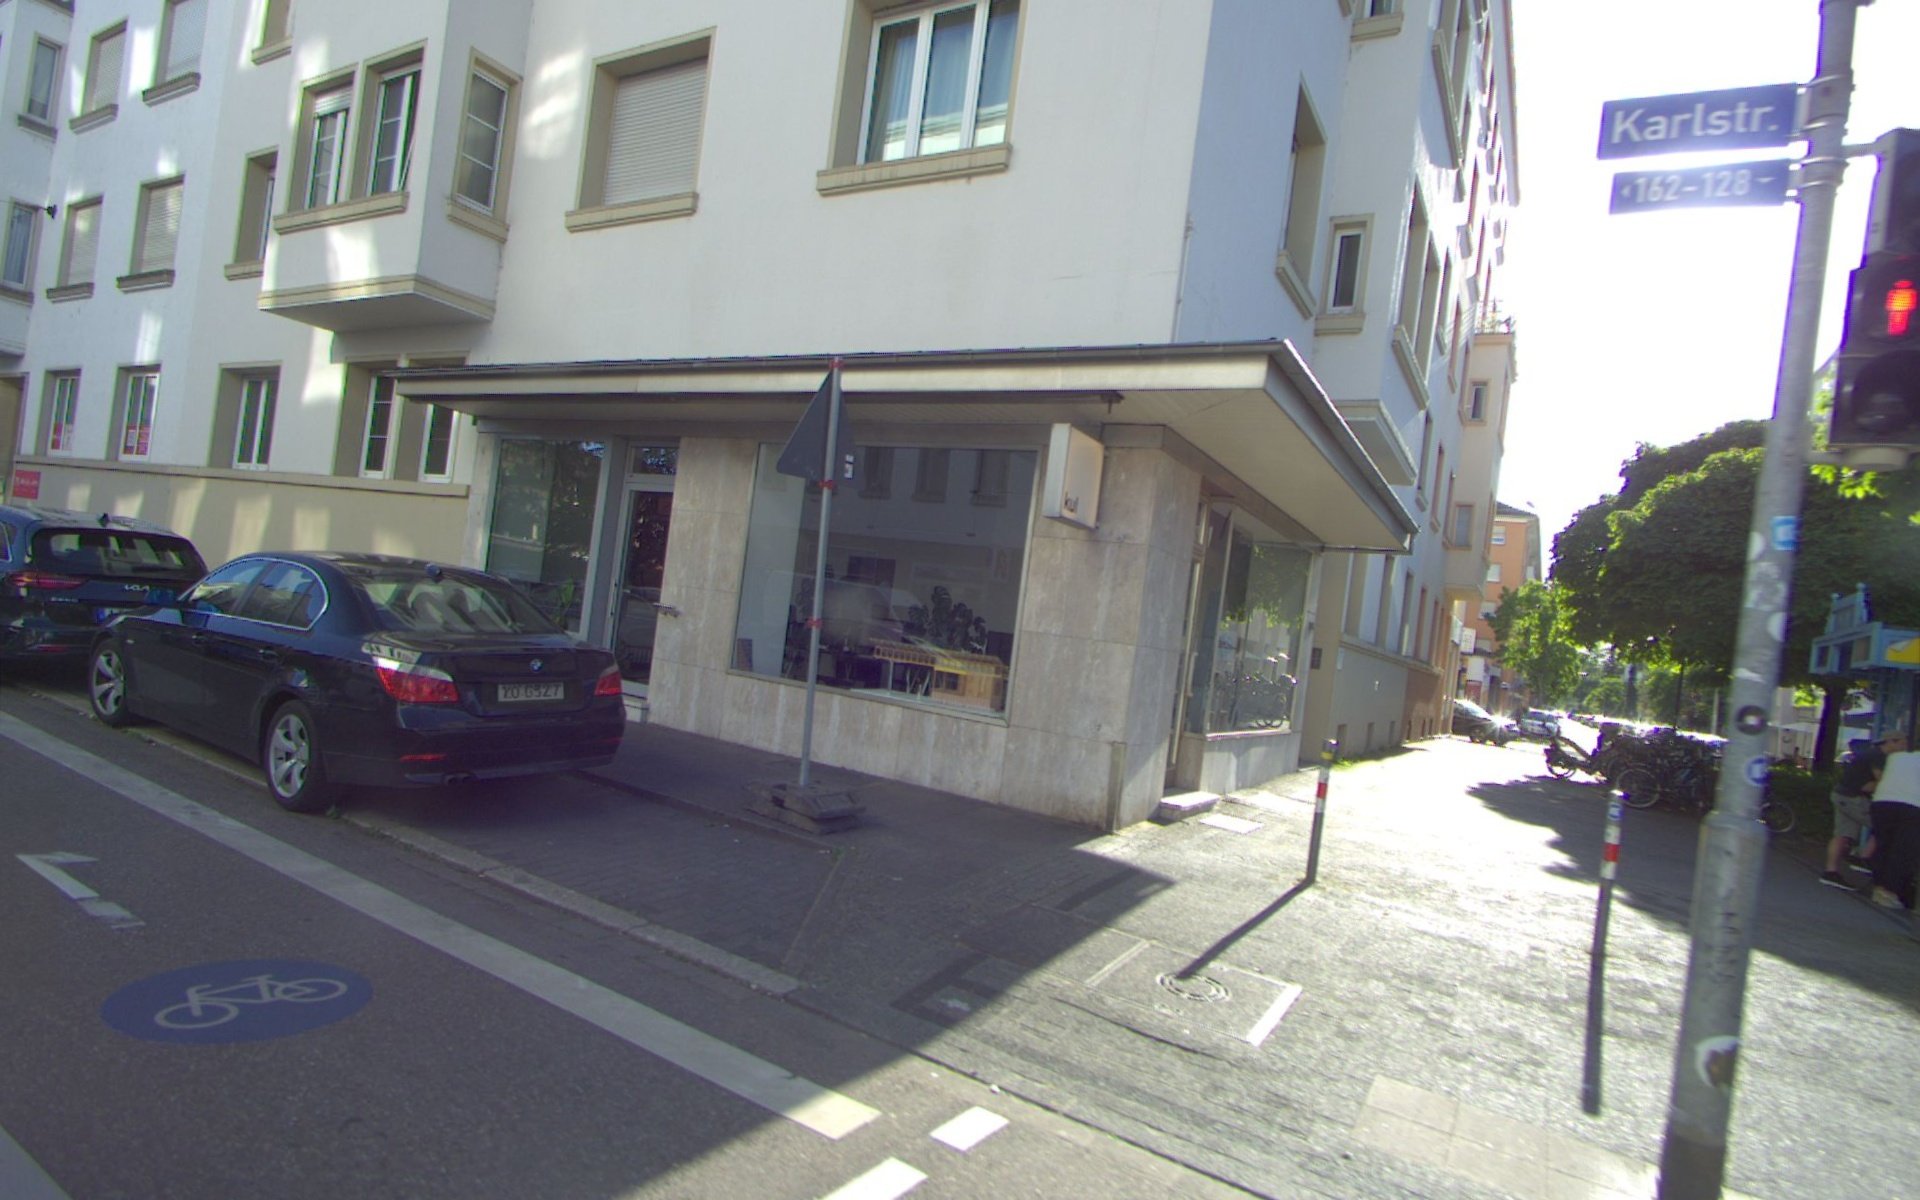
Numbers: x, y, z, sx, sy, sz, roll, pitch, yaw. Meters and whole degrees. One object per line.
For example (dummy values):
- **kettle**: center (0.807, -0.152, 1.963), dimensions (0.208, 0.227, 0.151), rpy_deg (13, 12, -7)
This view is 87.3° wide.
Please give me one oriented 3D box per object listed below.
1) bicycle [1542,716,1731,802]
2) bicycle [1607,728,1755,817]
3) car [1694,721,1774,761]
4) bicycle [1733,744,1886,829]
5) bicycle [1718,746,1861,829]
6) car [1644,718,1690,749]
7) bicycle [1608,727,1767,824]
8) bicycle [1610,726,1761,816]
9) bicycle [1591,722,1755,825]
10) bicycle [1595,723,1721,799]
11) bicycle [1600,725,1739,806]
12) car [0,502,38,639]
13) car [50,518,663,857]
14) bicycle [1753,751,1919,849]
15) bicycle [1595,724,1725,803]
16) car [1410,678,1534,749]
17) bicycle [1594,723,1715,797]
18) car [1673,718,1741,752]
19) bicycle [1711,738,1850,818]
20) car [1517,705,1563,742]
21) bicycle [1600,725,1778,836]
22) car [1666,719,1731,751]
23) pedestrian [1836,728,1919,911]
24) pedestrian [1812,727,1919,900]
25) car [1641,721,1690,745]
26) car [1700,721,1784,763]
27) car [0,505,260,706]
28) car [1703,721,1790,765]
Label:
- **bicycle**: center (13.360, 3.119, 20.019), dimensions (2.972, 1.164, 0.671), rpy_deg (7, -1, 32)
- **bicycle**: center (13.025, 3.092, 18.252), dimensions (1.999, 1.165, 0.661), rpy_deg (9, 0, 32)
- **car**: center (52.259, 9.495, 68.016), dimensions (3.934, 2.037, 1.997), rpy_deg (7, -1, 32)
- **bicycle**: center (15.830, 3.451, 18.816), dimensions (2.000, 1.164, 0.661), rpy_deg (7, -1, 32)
- **bicycle**: center (16.494, 3.709, 20.072), dimensions (1.999, 1.165, 0.661), rpy_deg (9, 0, 32)
- **car**: center (44.047, 8.304, 62.728), dimensions (1.784, 1.570, 3.996), rpy_deg (7, -2, 30)
- **bicycle**: center (12.249, 2.935, 17.024), dimensions (1.999, 1.165, 0.661), rpy_deg (9, 0, 32)
- **bicycle**: center (12.653, 2.963, 17.630), dimensions (2.000, 1.164, 0.661), rpy_deg (7, -1, 32)
- **bicycle**: center (11.621, 2.801, 16.496), dimensions (1.999, 1.233, 0.661), rpy_deg (9, 0, 32)
- **bicycle**: center (14.707, 3.370, 21.262), dimensions (1.999, 1.165, 0.661), rpy_deg (9, 0, 32)
- **bicycle**: center (13.448, 3.117, 19.149), dimensions (2.000, 1.164, 0.661), rpy_deg (7, -1, 32)
- **car**: center (-12.813, -0.553, 11.846), dimensions (4.028, 1.526, 1.858), rpy_deg (6, 1, 33)
- **car**: center (-4.522, 0.398, 7.245), dimensions (4.838, 1.526, 1.749), rpy_deg (6, 1, 33)
- **bicycle**: center (14.935, 3.376, 17.161), dimensions (1.999, 1.165, 0.661), rpy_deg (9, 0, 32)
- **bicycle**: center (14.297, 3.316, 20.615), dimensions (1.999, 1.165, 0.661), rpy_deg (9, 0, 32)
- **car**: center (19.462, 4.292, 38.294), dimensions (3.934, 2.037, 1.601), rpy_deg (7, -1, 32)
- **bicycle**: center (15.083, 3.453, 21.925), dimensions (1.999, 1.165, 0.661), rpy_deg (9, 0, 32)
- **car**: center (59.862, 10.787, 80.656), dimensions (3.931, 2.037, 1.998), rpy_deg (7, -1, 29)
- **bicycle**: center (16.846, 3.638, 20.720), dimensions (1.999, 1.165, 0.661), rpy_deg (9, 0, 32)
- **car**: center (30.091, 6.359, 52.291), dimensions (1.783, 1.570, 3.996), rpy_deg (7, -2, 29)
- **bicycle**: center (11.094, 2.720, 15.410), dimensions (1.999, 1.233, 0.661), rpy_deg (9, 0, 32)
- **car**: center (61.699, 11.256, 84.120), dimensions (3.931, 2.037, 1.998), rpy_deg (7, -1, 29)
- **pedestrian**: center (9.077, 2.103, 9.676), dimensions (0.732, 1.622, 0.615), rpy_deg (7, 0, 32)
- **pedestrian**: center (9.310, 2.168, 10.364), dimensions (0.582, 1.622, 0.552), rpy_deg (7, 0, 31)
- **car**: center (74.990, 14.097, 106.996), dimensions (3.931, 1.870, 1.998), rpy_deg (7, -1, 29)
- **car**: center (51.001, 9.261, 65.746), dimensions (3.934, 2.037, 1.997), rpy_deg (7, -1, 32)
- **car**: center (-8.961, -0.100, 9.656), dimensions (4.429, 1.526, 1.860), rpy_deg (6, 1, 29)
- **car**: center (49.711, 9.029, 63.682), dimensions (3.934, 2.037, 1.997), rpy_deg (7, -1, 32)
